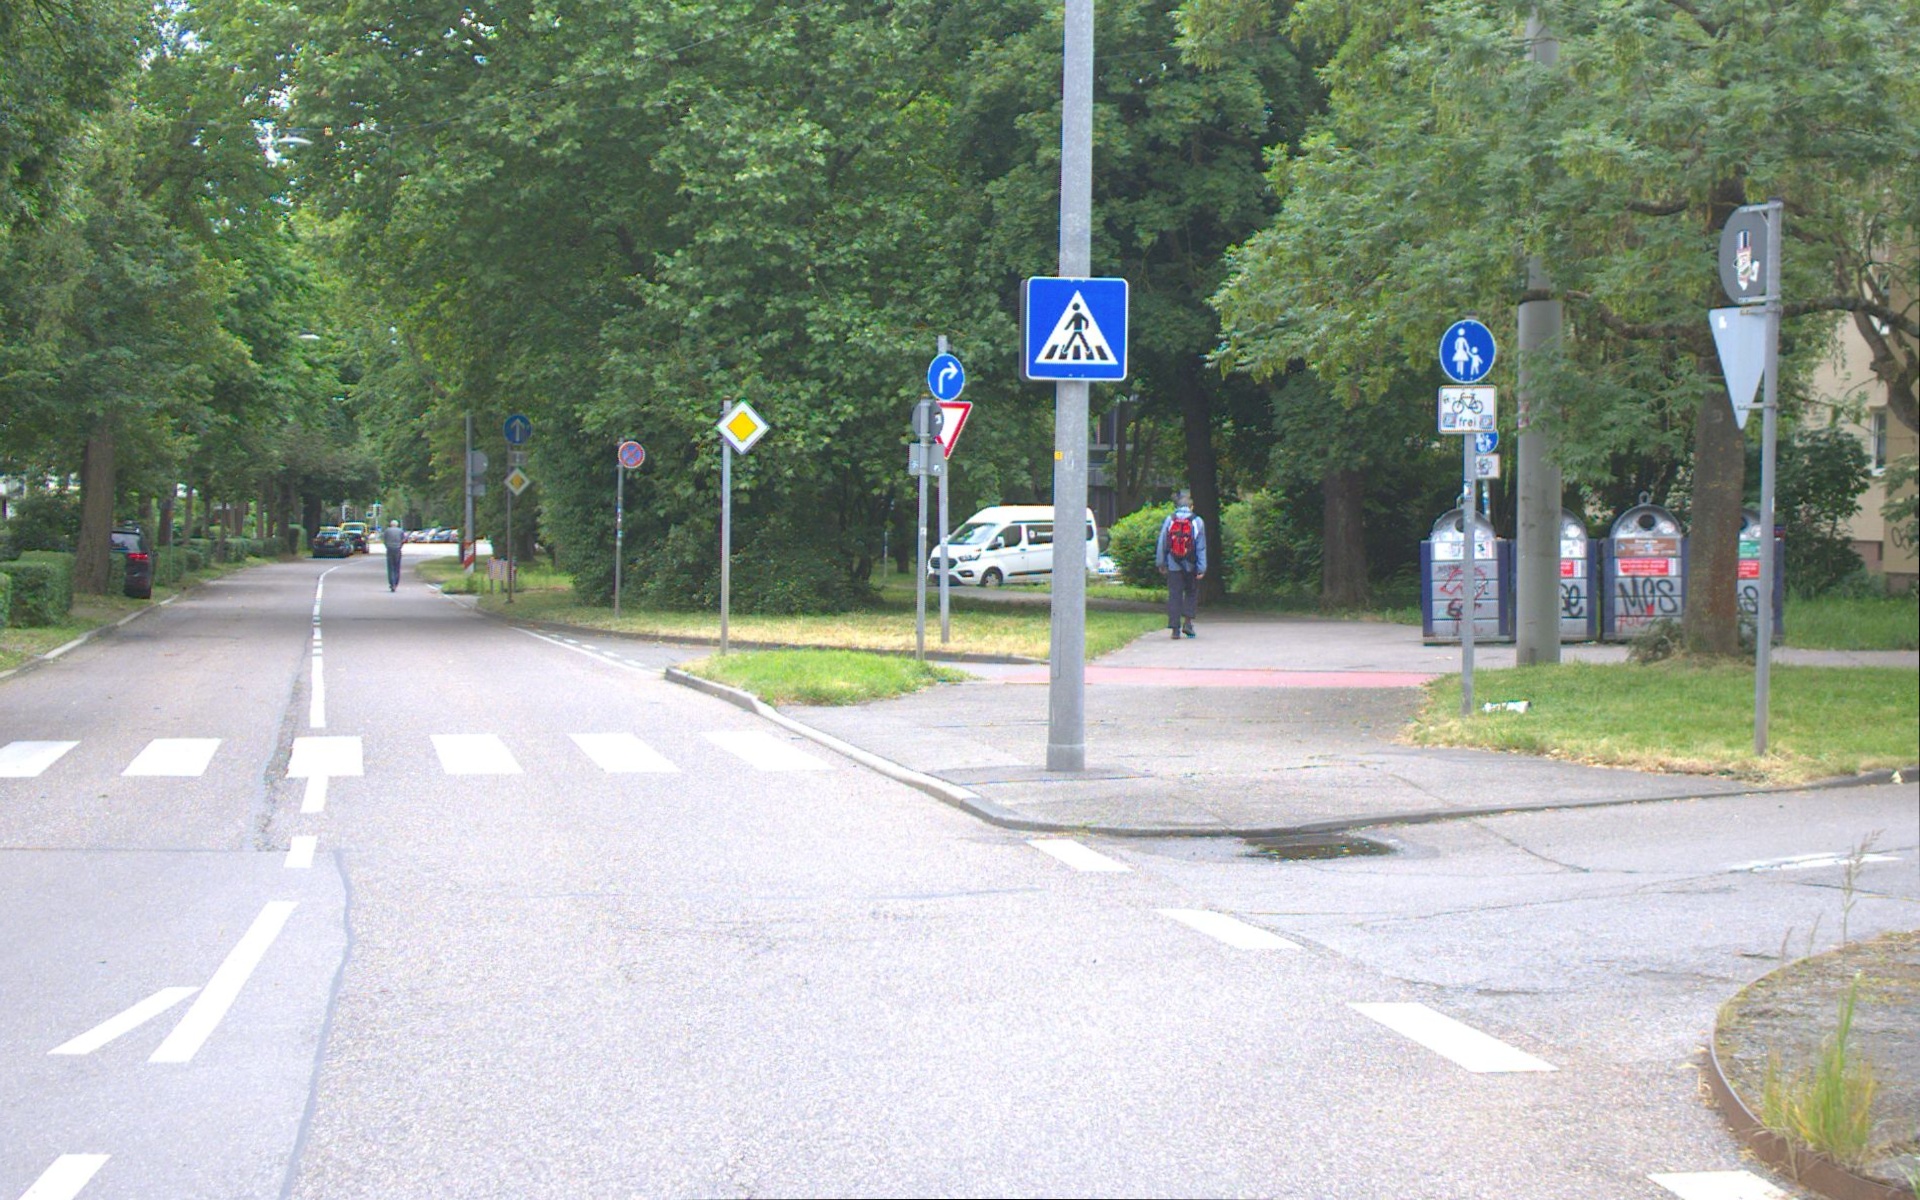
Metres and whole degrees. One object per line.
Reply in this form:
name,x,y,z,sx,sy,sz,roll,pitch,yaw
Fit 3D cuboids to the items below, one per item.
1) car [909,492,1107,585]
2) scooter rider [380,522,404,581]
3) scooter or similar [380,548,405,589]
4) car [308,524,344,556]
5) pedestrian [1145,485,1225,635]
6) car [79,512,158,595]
car,1.348,-1.653,93.965,5.371,2.289,2.136,1,3,-45
scooter rider,-15.045,-1.294,91.104,0.600,1.547,0.566,-1,3,-8
scooter or similar,-15.019,-0.831,90.972,0.600,1.051,0.873,-1,3,-8
car,-34.344,-3.259,186.280,1.833,1.493,3.657,3,2,-11
pedestrian,2.940,-0.530,45.024,0.923,1.865,1.019,-3,4,2
car,-19.496,-1.099,79.588,1.642,1.718,3.802,3,2,-14
